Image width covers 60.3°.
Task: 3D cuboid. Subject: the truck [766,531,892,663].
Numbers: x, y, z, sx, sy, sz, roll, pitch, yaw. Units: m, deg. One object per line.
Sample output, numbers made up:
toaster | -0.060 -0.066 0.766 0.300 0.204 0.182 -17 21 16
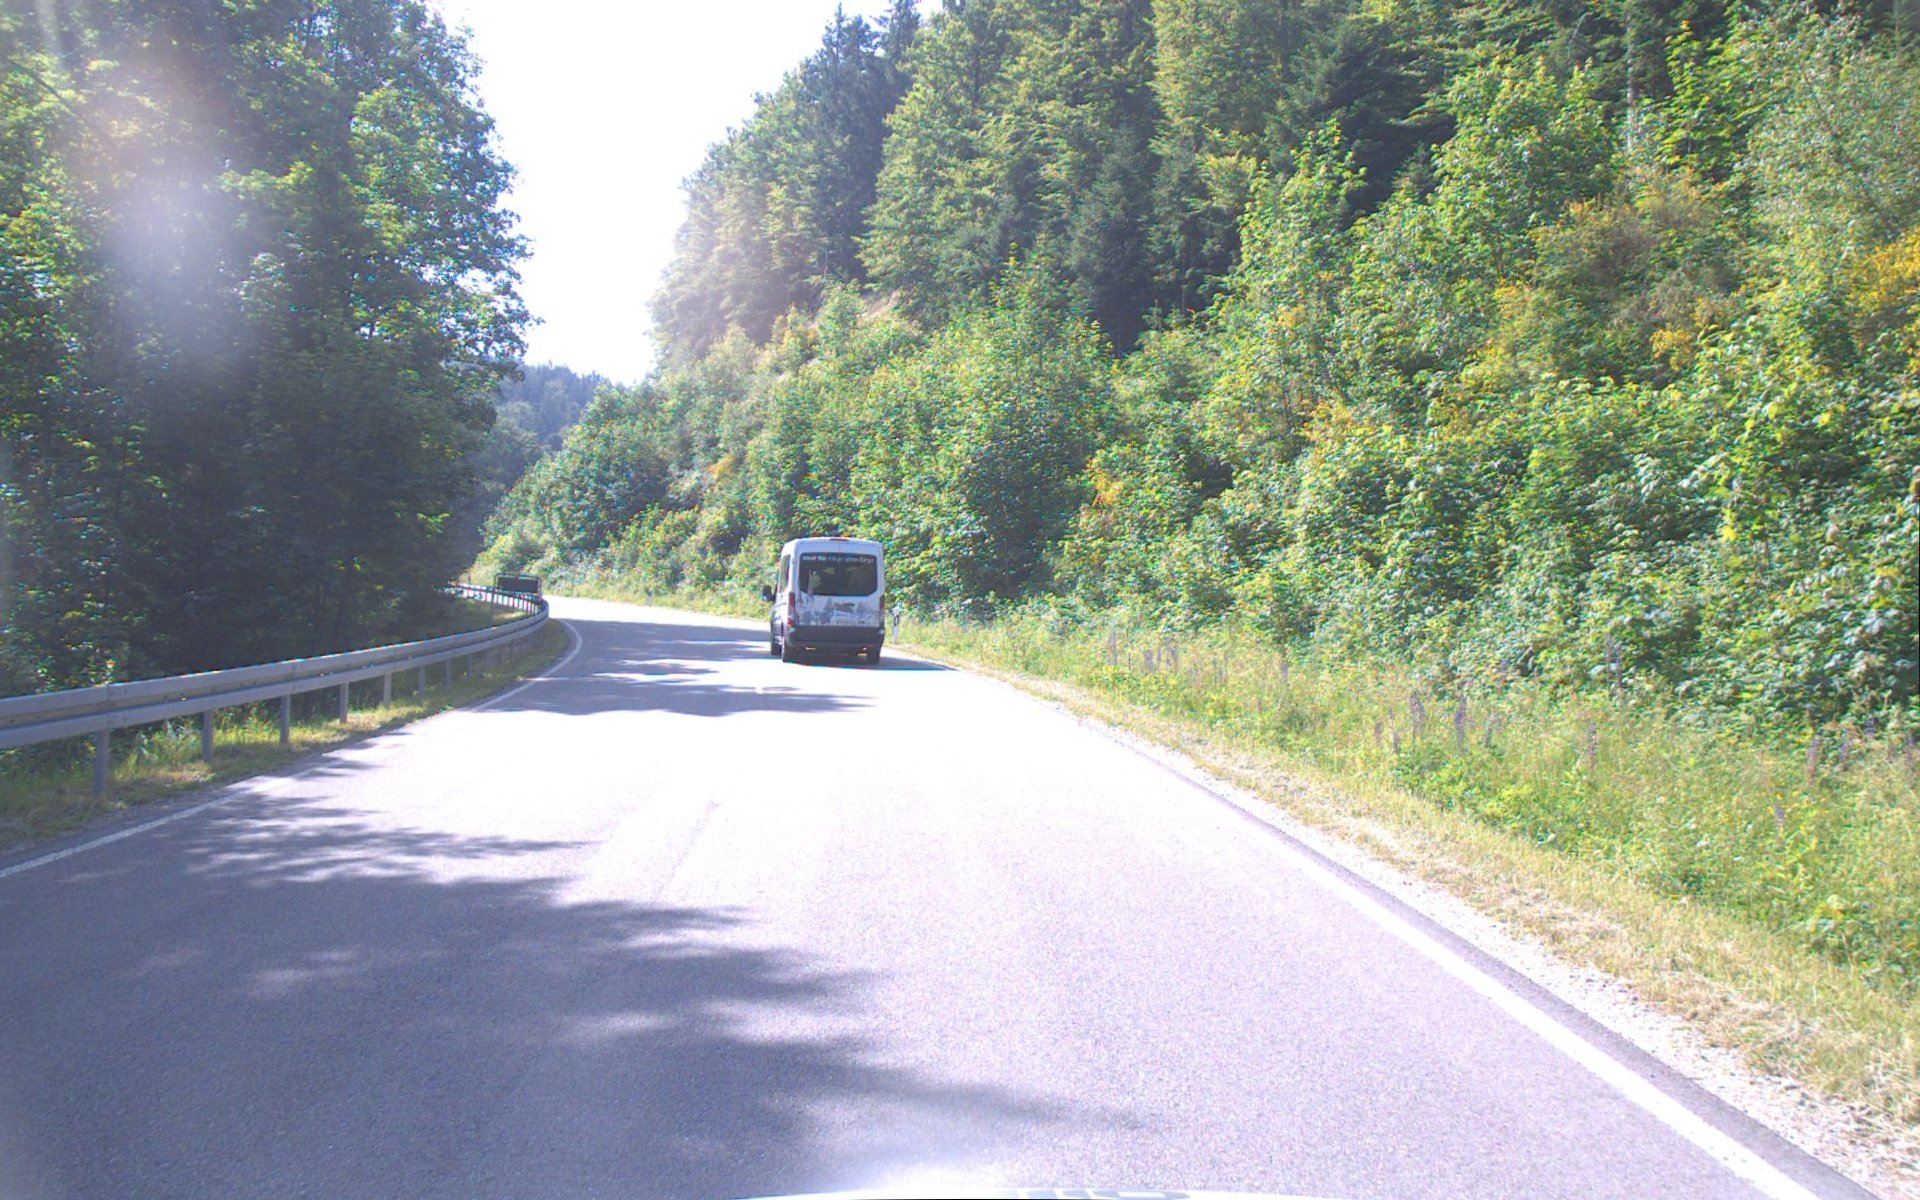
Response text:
truck | -2.845 -0.085 34.745 2.078 2.542 5.345 0 1 -11
